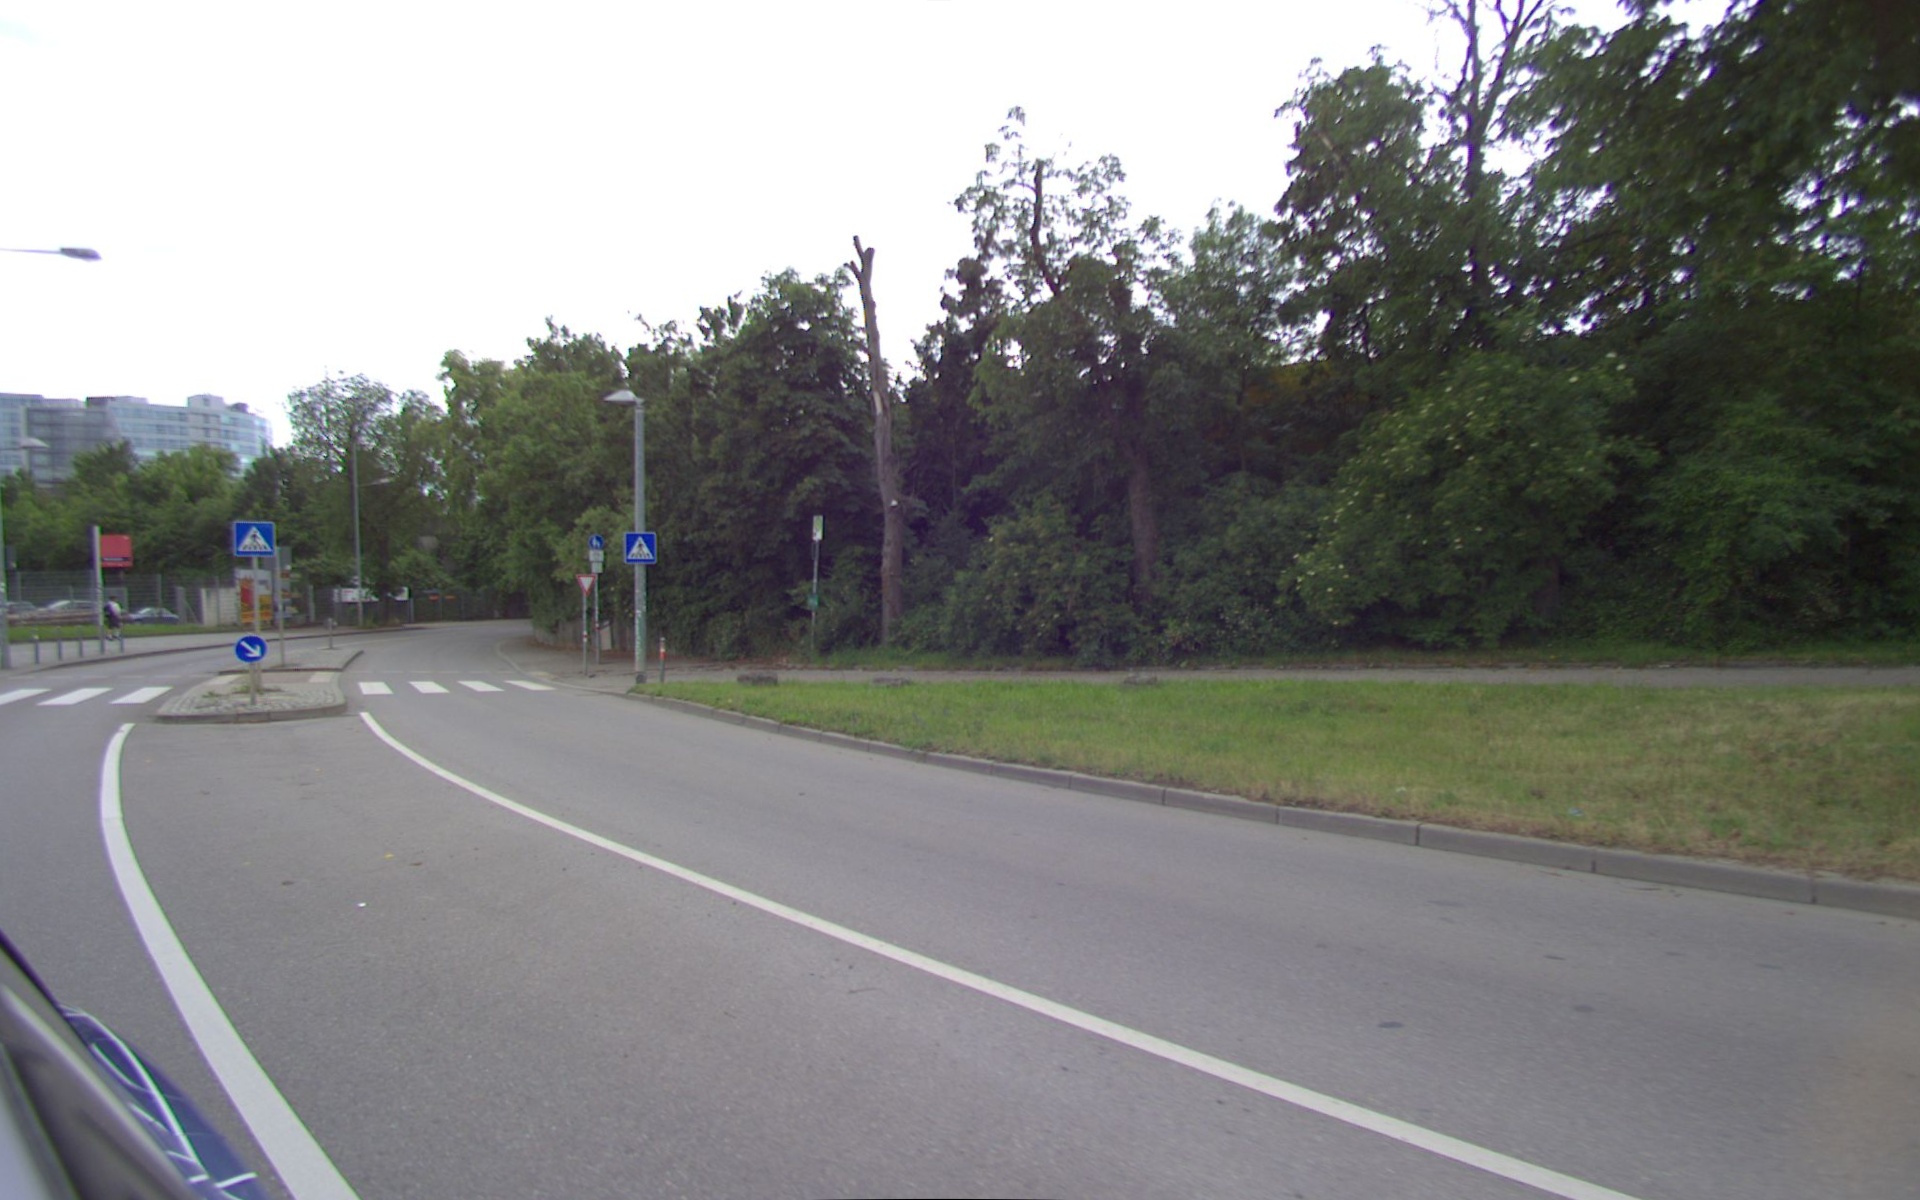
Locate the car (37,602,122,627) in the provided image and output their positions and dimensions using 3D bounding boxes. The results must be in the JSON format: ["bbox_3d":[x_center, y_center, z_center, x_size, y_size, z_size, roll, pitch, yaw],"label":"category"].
[{"bbox_3d":[-55.987,0.944,64.425,1.555,1.543,3.782,1,-1,22],"label":"car"}]

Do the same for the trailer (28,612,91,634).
[{"bbox_3d":[-50.625,1.289,56.898,2.626,1.146,1.832,-1,0,27],"label":"trailer"}]

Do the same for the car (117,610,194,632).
[{"bbox_3d":[-48.714,1.286,61.311,1.462,1.262,3.345,1,-2,22],"label":"car"}]

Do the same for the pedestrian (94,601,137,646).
[{"bbox_3d":[-33.022,0.913,39.577,0.841,1.696,0.938,0,2,9],"label":"pedestrian"}]
